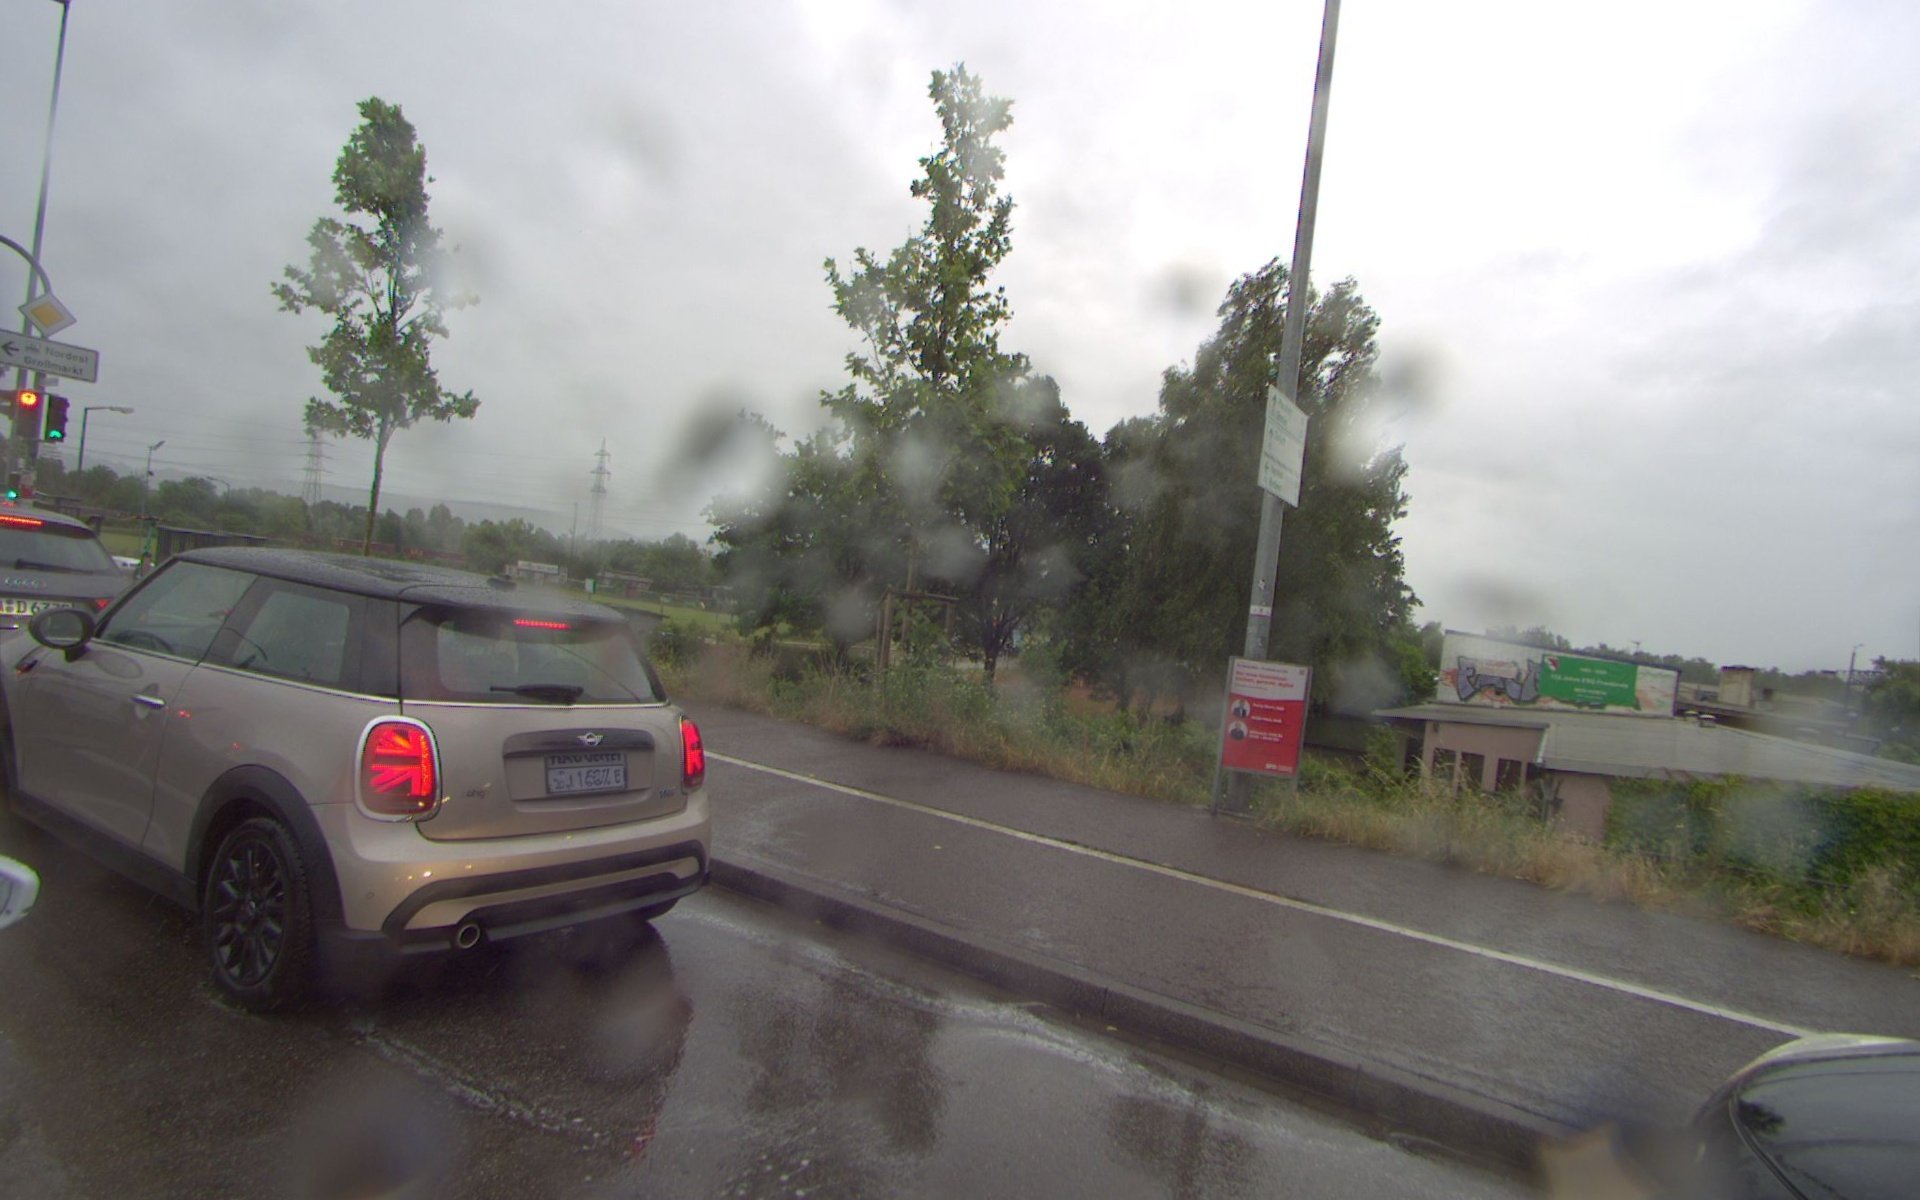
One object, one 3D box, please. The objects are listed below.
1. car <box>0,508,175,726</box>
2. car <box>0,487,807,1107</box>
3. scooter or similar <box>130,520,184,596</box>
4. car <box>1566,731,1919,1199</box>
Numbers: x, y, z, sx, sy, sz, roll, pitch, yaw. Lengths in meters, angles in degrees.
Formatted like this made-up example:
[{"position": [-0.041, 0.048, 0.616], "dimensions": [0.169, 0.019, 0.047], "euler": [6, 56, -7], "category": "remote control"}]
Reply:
[{"position": [-7.491, -0.050, 7.229], "dimensions": [3.563, 1.360, 1.632], "euler": [6, -2, 31], "category": "car"}, {"position": [-2.672, 0.488, 4.321], "dimensions": [3.563, 1.525, 1.717], "euler": [7, -2, 31], "category": "car"}, {"position": [-13.569, -0.719, 16.992], "dimensions": [1.167, 1.171, 0.246], "euler": [6, -1, 33], "category": "scooter or similar"}, {"position": [2.780, 1.173, 1.032], "dimensions": [3.563, 1.445, 1.632], "euler": [7, -1, 31], "category": "car"}]
